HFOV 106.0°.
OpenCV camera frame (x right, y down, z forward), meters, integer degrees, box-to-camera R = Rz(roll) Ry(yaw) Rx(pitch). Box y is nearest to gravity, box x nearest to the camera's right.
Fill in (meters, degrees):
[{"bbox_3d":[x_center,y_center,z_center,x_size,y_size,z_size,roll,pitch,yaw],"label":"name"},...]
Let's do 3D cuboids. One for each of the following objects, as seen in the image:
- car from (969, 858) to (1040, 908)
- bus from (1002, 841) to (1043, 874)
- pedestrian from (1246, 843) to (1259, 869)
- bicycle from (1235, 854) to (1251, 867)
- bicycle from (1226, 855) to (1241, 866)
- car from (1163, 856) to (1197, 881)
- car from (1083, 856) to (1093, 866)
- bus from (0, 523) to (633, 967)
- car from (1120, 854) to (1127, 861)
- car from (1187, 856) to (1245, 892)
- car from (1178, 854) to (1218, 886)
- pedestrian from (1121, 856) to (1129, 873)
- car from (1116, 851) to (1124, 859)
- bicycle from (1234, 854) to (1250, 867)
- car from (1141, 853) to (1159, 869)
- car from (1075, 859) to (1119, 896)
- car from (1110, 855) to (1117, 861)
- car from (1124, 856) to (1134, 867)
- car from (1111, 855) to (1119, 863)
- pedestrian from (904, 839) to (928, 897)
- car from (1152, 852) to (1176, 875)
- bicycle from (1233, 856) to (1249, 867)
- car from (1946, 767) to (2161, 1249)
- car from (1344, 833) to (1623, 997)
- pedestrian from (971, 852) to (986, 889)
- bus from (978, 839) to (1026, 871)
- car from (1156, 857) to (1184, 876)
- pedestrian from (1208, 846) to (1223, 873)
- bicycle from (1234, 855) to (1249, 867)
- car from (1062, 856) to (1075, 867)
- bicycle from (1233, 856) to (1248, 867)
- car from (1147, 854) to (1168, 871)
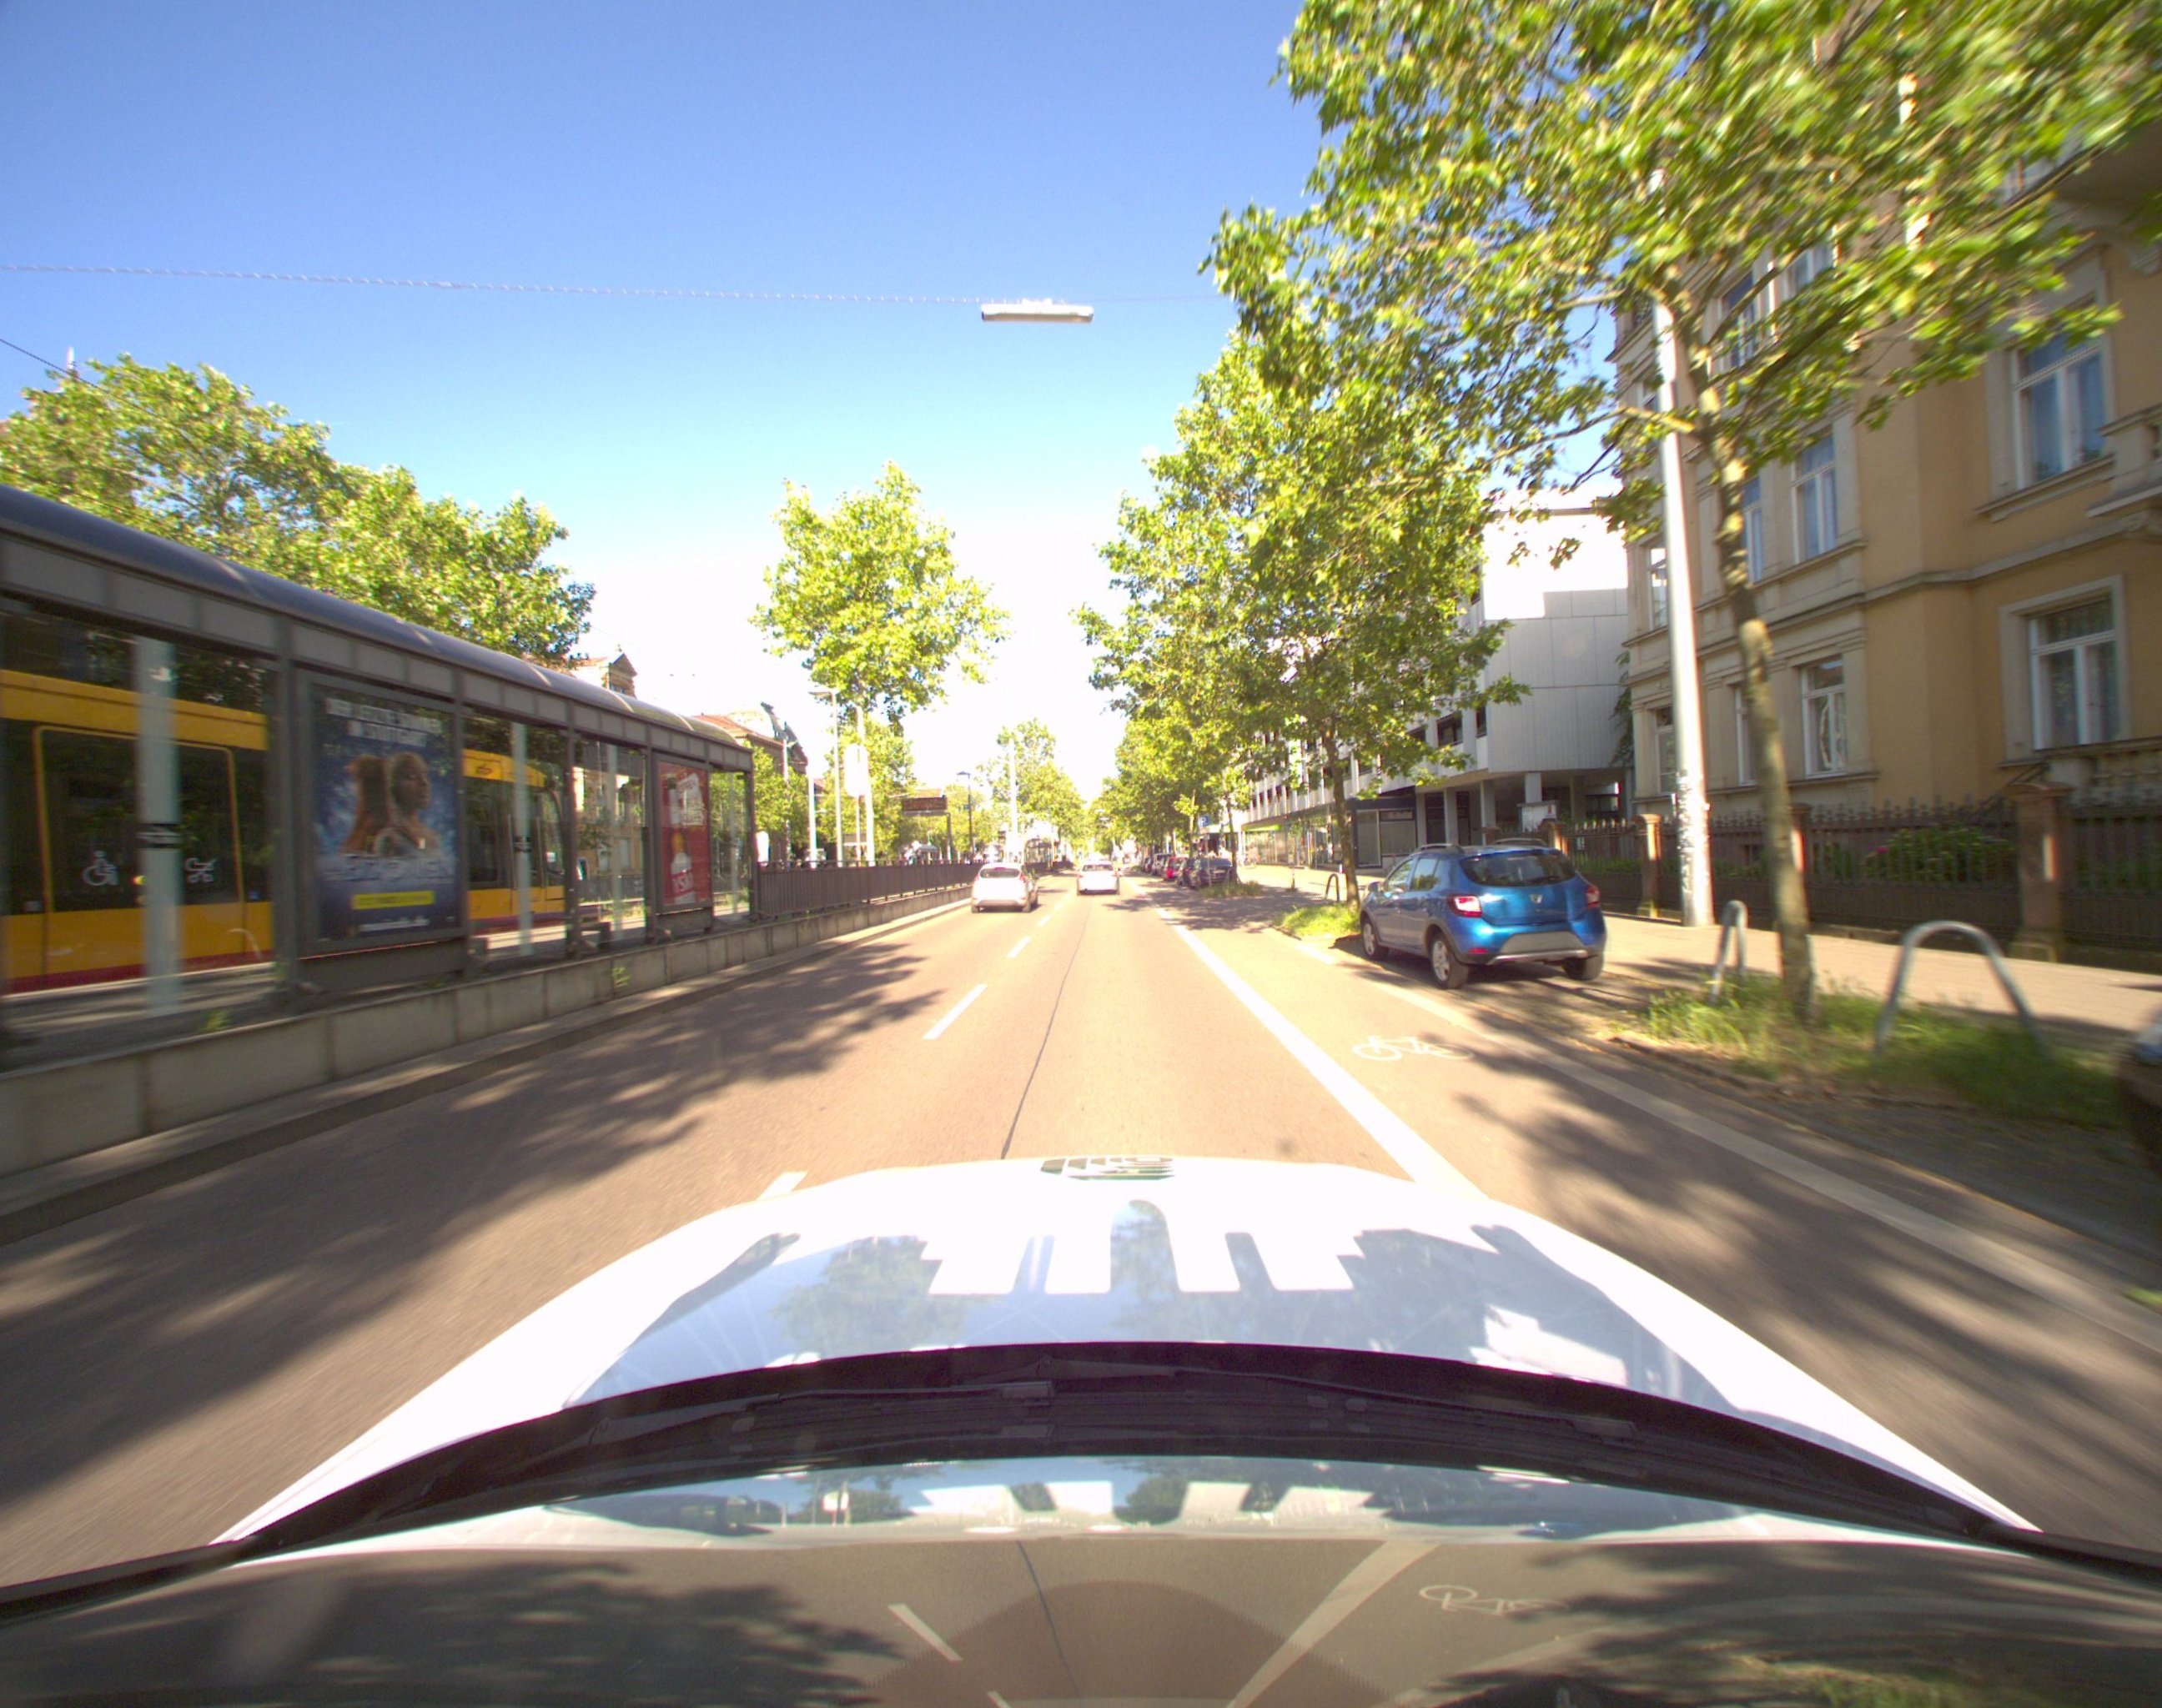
[{"bbox_3d":[-2.230,0.814,24.547,1.640,1.363,3.762,0,0,2],"label":"car"},{"bbox_3d":[-6.894,0.347,99.393,2.739,3.625,18.857,-2,0,2],"label":"bus"},{"bbox_3d":[13.562,0.132,64.378,0.785,2.014,0.891,-2,-1,2],"label":"pedestrian"},{"bbox_3d":[14.786,0.586,74.290,1.378,1.148,0.243,0,0,1],"label":"bicycle"},{"bbox_3d":[14.547,0.635,77.742,1.378,1.098,0.243,0,0,1],"label":"bicycle"},{"bbox_3d":[6.269,0.887,51.926,1.799,1.520,4.002,0,-1,2],"label":"car"},{"bbox_3d":[1.480,1.502,177.293,1.986,2.013,4.002,0,0,2],"label":"car"},{"bbox_3d":[-9.682,-0.820,8.729,2.858,3.444,11.617,-2,0,2],"label":"bus"},{"bbox_3d":[11.613,0.931,223.945,1.868,2.013,3.713,0,0,2],"label":"car"},{"bbox_3d":[5.967,0.867,36.554,1.986,1.509,4.599,0,-1,2],"label":"car"},{"bbox_3d":[6.009,0.780,42.115,1.663,1.551,4.002,0,0,2],"label":"car"},{"bbox_3d":[4.978,1.187,92.165,0.833,2.013,0.650,0,0,9],"label":"pedestrian"},{"bbox_3d":[9.622,0.196,201.020,1.986,2.013,4.001,-2,0,1],"label":"car"},{"bbox_3d":[14.770,0.621,74.652,1.378,1.148,0.243,0,0,1],"label":"bicycle"},{"bbox_3d":[7.075,0.731,83.713,1.694,1.534,3.718,0,0,2],"label":"car"},{"bbox_3d":[0.672,0.954,34.657,1.756,1.432,4.001,0,0,1],"label":"car"},{"bbox_3d":[9.944,1.166,250.234,1.986,1.698,4.002,-2,0,2],"label":"car"},{"bbox_3d":[9.579,1.466,163.740,1.986,2.013,4.002,0,0,2],"label":"car"},{"bbox_3d":[9.006,1.394,213.293,2.063,2.014,4.002,-2,0,2],"label":"car"},{"bbox_3d":[-5.719,0.478,28.257,0.636,1.954,0.814,0,0,2],"label":"pedestrian"},{"bbox_3d":[6.880,0.774,67.431,1.718,1.880,4.002,0,0,2],"label":"car"},{"bbox_3d":[14.811,0.685,75.308,1.378,1.055,0.243,0,0,1],"label":"bicycle"},{"bbox_3d":[4.641,0.515,1.187,1.791,1.700,4.739,-2,0,2],"label":"car"},{"bbox_3d":[4.862,0.614,10.542,1.685,1.658,4.041,-2,1,2],"label":"car"},{"bbox_3d":[-5.419,0.874,43.074,0.636,1.954,0.814,0,0,2],"label":"pedestrian"},{"bbox_3d":[-9.895,0.058,105.831,2.858,3.628,24.616,-2,0,2],"label":"bus"},{"bbox_3d":[6.702,0.908,61.599,1.774,1.381,4.002,0,-1,2],"label":"car"},{"bbox_3d":[9.975,0.413,60.526,0.960,2.014,0.939,-2,-1,2],"label":"pedestrian"},{"bbox_3d":[14.789,0.641,74.991,1.378,1.148,0.243,0,0,1],"label":"bicycle"},{"bbox_3d":[-2.004,1.285,135.503,1.986,1.816,4.002,0,0,2],"label":"car"},{"bbox_3d":[14.784,0.686,75.634,1.378,1.058,0.243,0,0,1],"label":"bicycle"},{"bbox_3d":[7.140,0.776,76.410,1.704,1.563,4.002,0,0,2],"label":"car"}]
